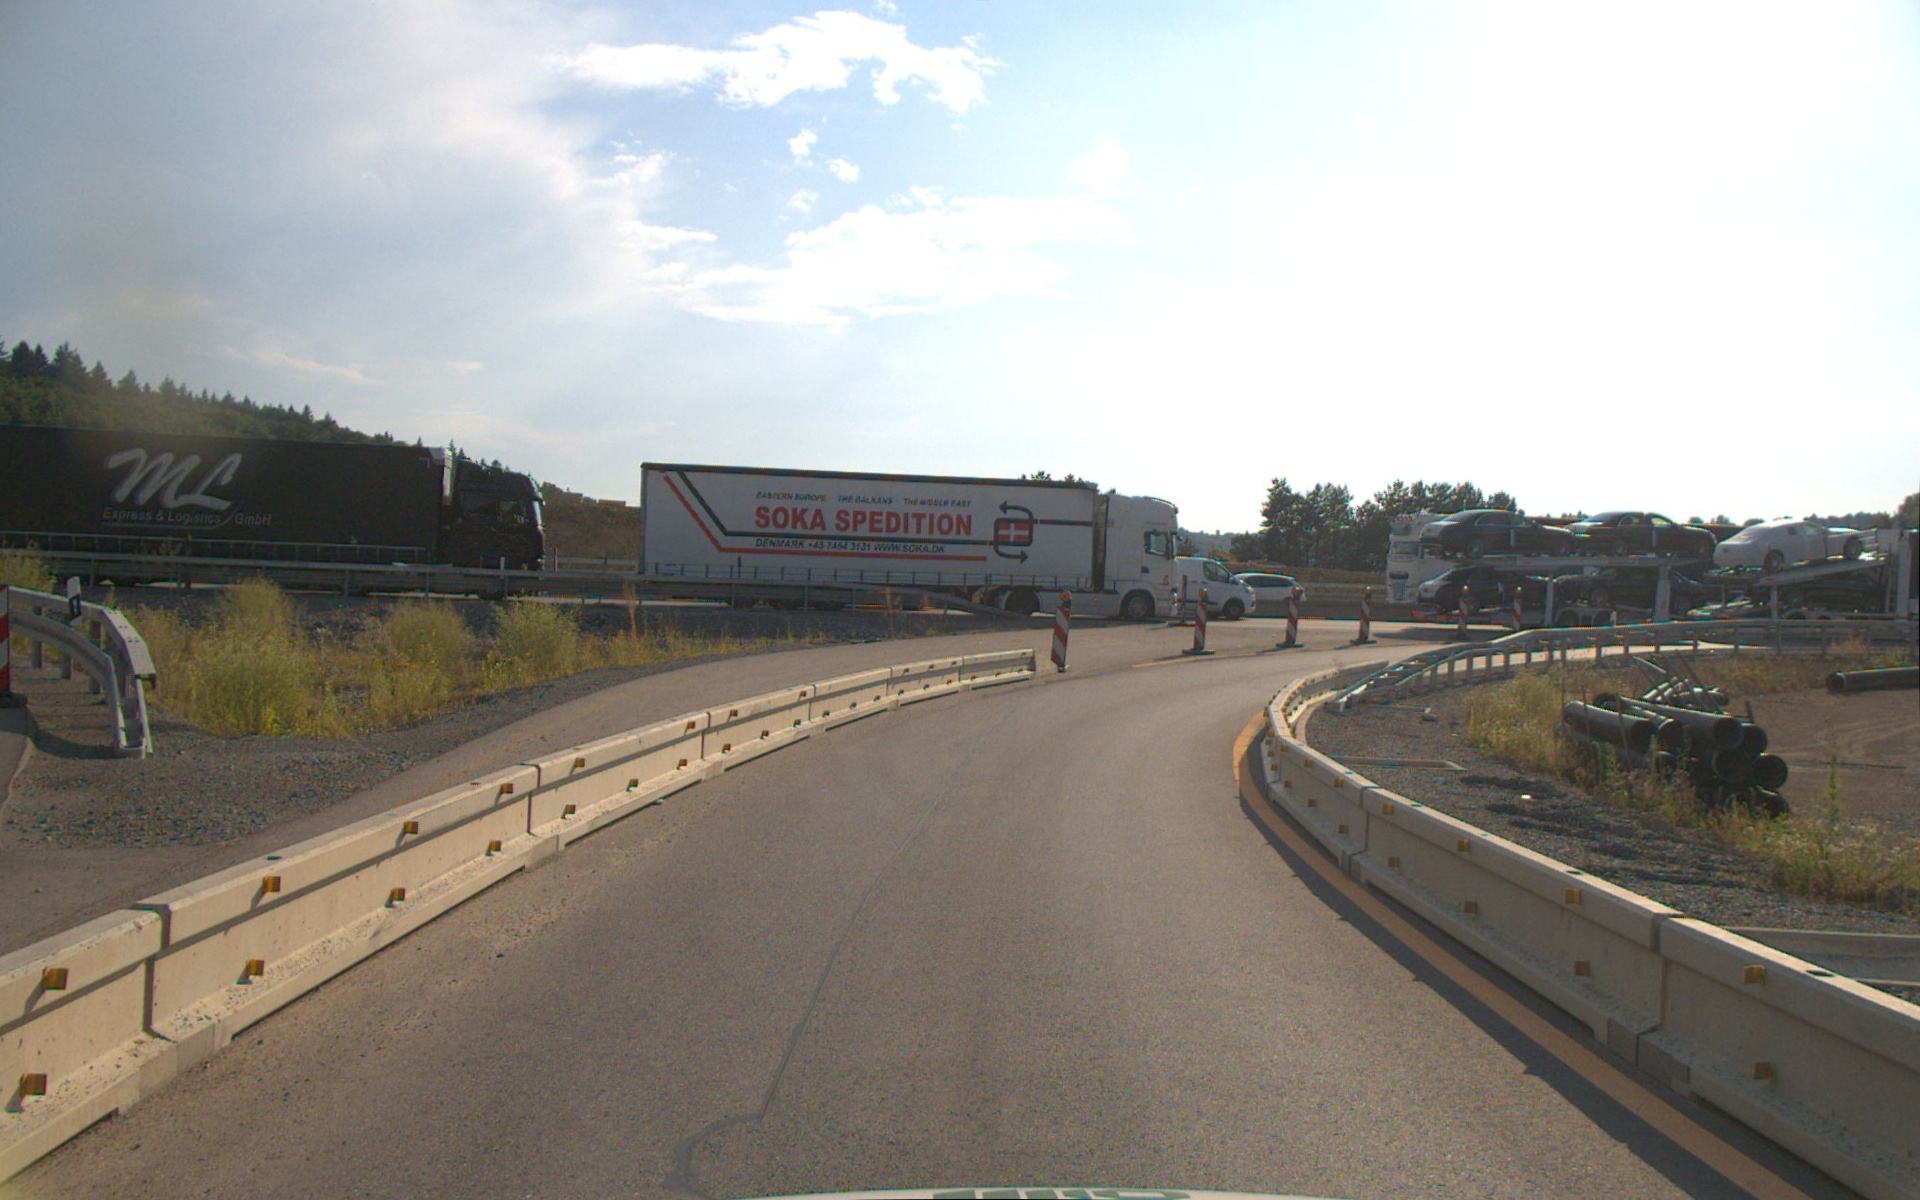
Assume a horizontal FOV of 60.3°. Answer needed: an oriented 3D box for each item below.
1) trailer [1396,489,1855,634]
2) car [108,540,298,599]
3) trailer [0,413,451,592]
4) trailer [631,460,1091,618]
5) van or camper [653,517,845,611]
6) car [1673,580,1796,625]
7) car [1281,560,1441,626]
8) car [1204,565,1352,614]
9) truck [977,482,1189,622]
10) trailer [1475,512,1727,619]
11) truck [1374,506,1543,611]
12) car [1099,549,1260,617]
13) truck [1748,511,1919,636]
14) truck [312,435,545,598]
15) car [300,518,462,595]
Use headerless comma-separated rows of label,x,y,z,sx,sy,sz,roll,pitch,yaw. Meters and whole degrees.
trailer,22.379,-1.217,55.443,15.426,4.066,2.857,2,1,-14
car,-22.878,-0.928,50.194,4.876,1.526,2.030,2,3,-13
trailer,-20.828,-2.578,44.553,13.361,4.132,2.479,2,1,-15
trailer,-2.891,-1.728,49.211,13.356,3.945,2.480,2,1,-14
van or camper,-6.675,-1.126,52.173,5.781,2.665,1.994,2,1,-13
car,30.138,0.091,64.375,4.151,1.526,1.657,2,3,-13
car,13.669,-0.251,56.481,4.876,2.015,2.030,2,3,-13
car,11.528,-0.392,60.082,4.876,1.526,2.030,2,3,-13
truck,3.752,-1.454,50.915,5.890,3.945,2.480,2,1,-14
trailer,25.897,-1.328,66.878,9.372,3.817,3.007,2,-1,-13
truck,19.679,-1.592,65.435,5.571,3.792,2.996,2,-1,-13
car,7.316,-0.579,55.237,4.876,2.015,2.030,2,3,-13
truck,31.328,-0.870,57.722,6.490,4.066,2.848,2,1,-14
truck,-14.736,-2.271,46.268,5.891,4.130,2.479,2,1,-15
car,-16.854,-1.243,48.295,4.244,2.049,1.521,2,-1,-14
